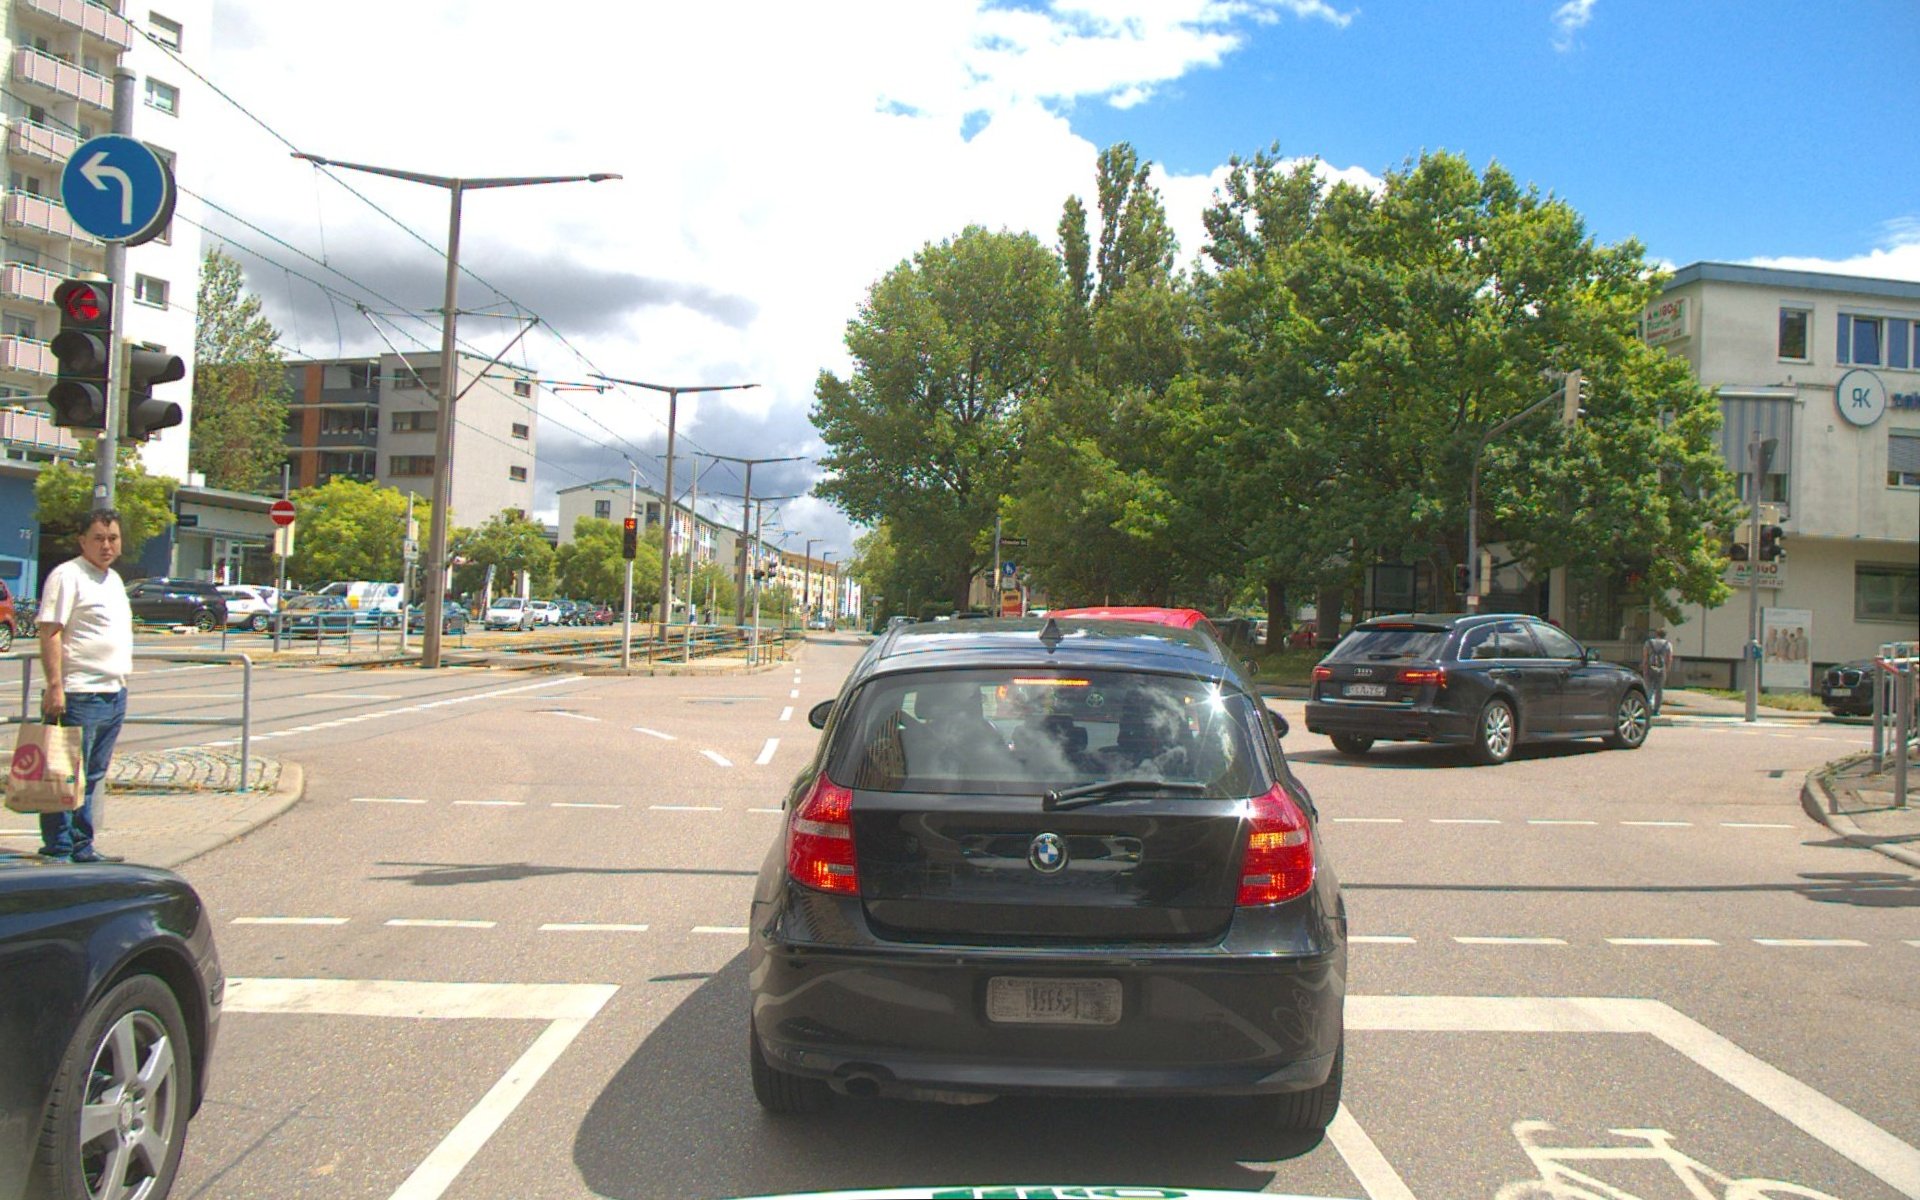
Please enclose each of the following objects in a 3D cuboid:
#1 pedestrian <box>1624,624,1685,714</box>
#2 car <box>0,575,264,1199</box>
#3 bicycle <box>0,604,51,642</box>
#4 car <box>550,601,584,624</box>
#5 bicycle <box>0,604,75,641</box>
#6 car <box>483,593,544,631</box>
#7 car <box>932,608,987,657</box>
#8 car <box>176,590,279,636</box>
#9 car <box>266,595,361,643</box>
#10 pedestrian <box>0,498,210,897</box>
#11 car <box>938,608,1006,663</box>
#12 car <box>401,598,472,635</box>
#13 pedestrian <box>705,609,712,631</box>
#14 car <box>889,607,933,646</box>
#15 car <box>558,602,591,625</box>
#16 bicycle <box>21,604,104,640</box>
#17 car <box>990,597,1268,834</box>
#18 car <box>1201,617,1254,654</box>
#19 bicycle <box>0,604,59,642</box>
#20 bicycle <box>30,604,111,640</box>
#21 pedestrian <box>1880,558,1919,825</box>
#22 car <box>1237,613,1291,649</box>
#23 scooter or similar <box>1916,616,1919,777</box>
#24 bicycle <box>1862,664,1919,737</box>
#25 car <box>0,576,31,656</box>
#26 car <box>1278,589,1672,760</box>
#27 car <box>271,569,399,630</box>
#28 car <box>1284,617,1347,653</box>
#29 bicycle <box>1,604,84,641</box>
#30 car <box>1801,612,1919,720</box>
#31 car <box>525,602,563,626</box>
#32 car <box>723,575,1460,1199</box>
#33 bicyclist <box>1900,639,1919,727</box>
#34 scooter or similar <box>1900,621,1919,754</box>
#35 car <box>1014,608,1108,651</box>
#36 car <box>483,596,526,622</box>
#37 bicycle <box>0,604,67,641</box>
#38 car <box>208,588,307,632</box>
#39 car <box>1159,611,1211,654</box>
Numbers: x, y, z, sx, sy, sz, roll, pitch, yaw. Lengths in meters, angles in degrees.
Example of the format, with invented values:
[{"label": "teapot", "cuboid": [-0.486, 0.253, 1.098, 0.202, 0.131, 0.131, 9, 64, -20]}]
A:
[{"label": "pedestrian", "cuboid": [13.313, 1.314, 31.721, 0.753, 1.672, 0.907, 2, 0, -1]}, {"label": "car", "cuboid": [-2.631, 0.679, 1.964, 1.693, 1.487, 4.543, 1, 0, -1]}, {"label": "bicycle", "cuboid": [-24.607, 0.597, 42.710, 1.909, 0.951, 0.494, 1, -1, -7]}, {"label": "car", "cuboid": [-25.451, 0.782, 107.188, 1.728, 1.419, 3.994, 1, 0, -7]}, {"label": "bicycle", "cuboid": [-24.742, 0.601, 44.155, 1.909, 0.951, 0.494, 1, -1, -7]}, {"label": "car", "cuboid": [-21.584, 0.562, 80.064, 1.898, 1.722, 3.872, 1, 0, -1]}, {"label": "car", "cuboid": [-0.031, 1.212, 61.639, 1.953, 1.713, 3.999, 1, -1, -1]}, {"label": "car", "cuboid": [-26.627, 0.462, 60.058, 4.144, 1.597, 1.949, 1, 0, 43]}, {"label": "car", "cuboid": [-21.254, 0.605, 54.525, 1.596, 1.438, 4.252, 1, 1, -2]}, {"label": "pedestrian", "cuboid": [-4.248, 0.450, 8.040, 0.851, 1.839, 0.741, 1, 0, -5]}, {"label": "car", "cuboid": [0.373, 1.155, 54.197, 2.108, 1.713, 3.999, 1, -1, -1]}, {"label": "car", "cuboid": [-21.225, 0.667, 67.190, 1.602, 1.424, 4.491, 2, -1, -3]}, {"label": "pedestrian", "cuboid": [-19.563, 1.563, 128.525, 0.469, 1.665, 0.454, 1, 0, -2]}, {"label": "car", "cuboid": [-2.251, 1.218, 76.982, 1.953, 1.713, 3.999, 1, 0, -1]}, {"label": "car", "cuboid": [-25.996, 0.896, 111.745, 1.728, 1.419, 3.994, 1, 0, -7]}, {"label": "bicycle", "cuboid": [-24.584, 0.610, 45.324, 1.909, 0.951, 0.494, 1, -1, -7]}, {"label": "car", "cuboid": [1.366, 0.741, 12.252, 1.509, 1.466, 3.198, 1, 0, 15]}, {"label": "car", "cuboid": [12.574, 1.662, 77.867, 1.598, 1.600, 4.029, 1, 0, -4]}, {"label": "bicycle", "cuboid": [-24.652, 0.598, 43.176, 1.909, 0.951, 0.494, 1, -1, -7]}, {"label": "bicycle", "cuboid": [-24.634, 0.611, 45.813, 1.909, 0.951, 0.494, 1, -1, -7]}, {"label": "pedestrian", "cuboid": [6.682, 0.586, 10.850, 0.932, 1.703, 0.871, 0, 0, 14]}, {"label": "car", "cuboid": [14.497, 1.461, 79.115, 1.598, 1.623, 3.997, 1, 0, -4]}, {"label": "scooter or similar", "cuboid": [8.396, 0.795, 13.113, 1.315, 1.299, 0.462, 1, 1, 6]}, {"label": "bicycle", "cuboid": [11.861, 1.232, 20.023, 0.776, 0.833, 1.806, 2, 0, -4]}, {"label": "car", "cuboid": [-20.768, 0.333, 33.284, 1.955, 1.663, 4.456, 0, 0, -5]}, {"label": "car", "cuboid": [5.544, 0.716, 17.520, 4.481, 1.581, 1.970, 1, -1, -41]}, {"label": "car", "cuboid": [-27.088, -0.039, 71.546, 2.810, 2.522, 6.614, 1, 0, -44]}, {"label": "car", "cuboid": [17.073, 1.647, 79.595, 1.698, 1.623, 3.993, 1, 0, -8]}, {"label": "bicycle", "cuboid": [-24.782, 0.603, 44.690, 1.909, 0.951, 0.494, 1, -1, -7]}, {"label": "car", "cuboid": [17.163, 1.131, 28.455, 4.472, 1.747, 1.997, 1, 0, -8]}, {"label": "car", "cuboid": [-25.255, 0.846, 100.613, 1.728, 1.419, 3.994, 1, 0, -7]}, {"label": "car", "cuboid": [0.292, 0.712, 5.915, 1.717, 1.513, 3.999, 1, 0, -1]}, {"label": "bicyclist", "cuboid": [11.872, 1.007, 19.859, 0.776, 1.040, 0.635, 2, 0, -5]}, {"label": "scooter or similar", "cuboid": [9.206, 0.819, 14.931, 1.338, 1.176, 0.539, 3, 0, -26]}, {"label": "car", "cuboid": [4.643, 1.337, 75.765, 3.933, 1.855, 1.766, 1, 0, -23]}, {"label": "car", "cuboid": [-25.600, 0.500, 93.018, 1.728, 1.419, 3.994, 1, 0, -7]}, {"label": "bicycle", "cuboid": [-24.698, 0.600, 43.680, 1.909, 0.951, 0.494, 1, -1, -7]}, {"label": "car", "cuboid": [-26.901, 0.370, 63.275, 4.144, 1.564, 1.949, 1, 0, 43]}, {"label": "car", "cuboid": [10.408, 1.482, 76.806, 1.598, 1.842, 4.029, 1, 0, -4]}]
